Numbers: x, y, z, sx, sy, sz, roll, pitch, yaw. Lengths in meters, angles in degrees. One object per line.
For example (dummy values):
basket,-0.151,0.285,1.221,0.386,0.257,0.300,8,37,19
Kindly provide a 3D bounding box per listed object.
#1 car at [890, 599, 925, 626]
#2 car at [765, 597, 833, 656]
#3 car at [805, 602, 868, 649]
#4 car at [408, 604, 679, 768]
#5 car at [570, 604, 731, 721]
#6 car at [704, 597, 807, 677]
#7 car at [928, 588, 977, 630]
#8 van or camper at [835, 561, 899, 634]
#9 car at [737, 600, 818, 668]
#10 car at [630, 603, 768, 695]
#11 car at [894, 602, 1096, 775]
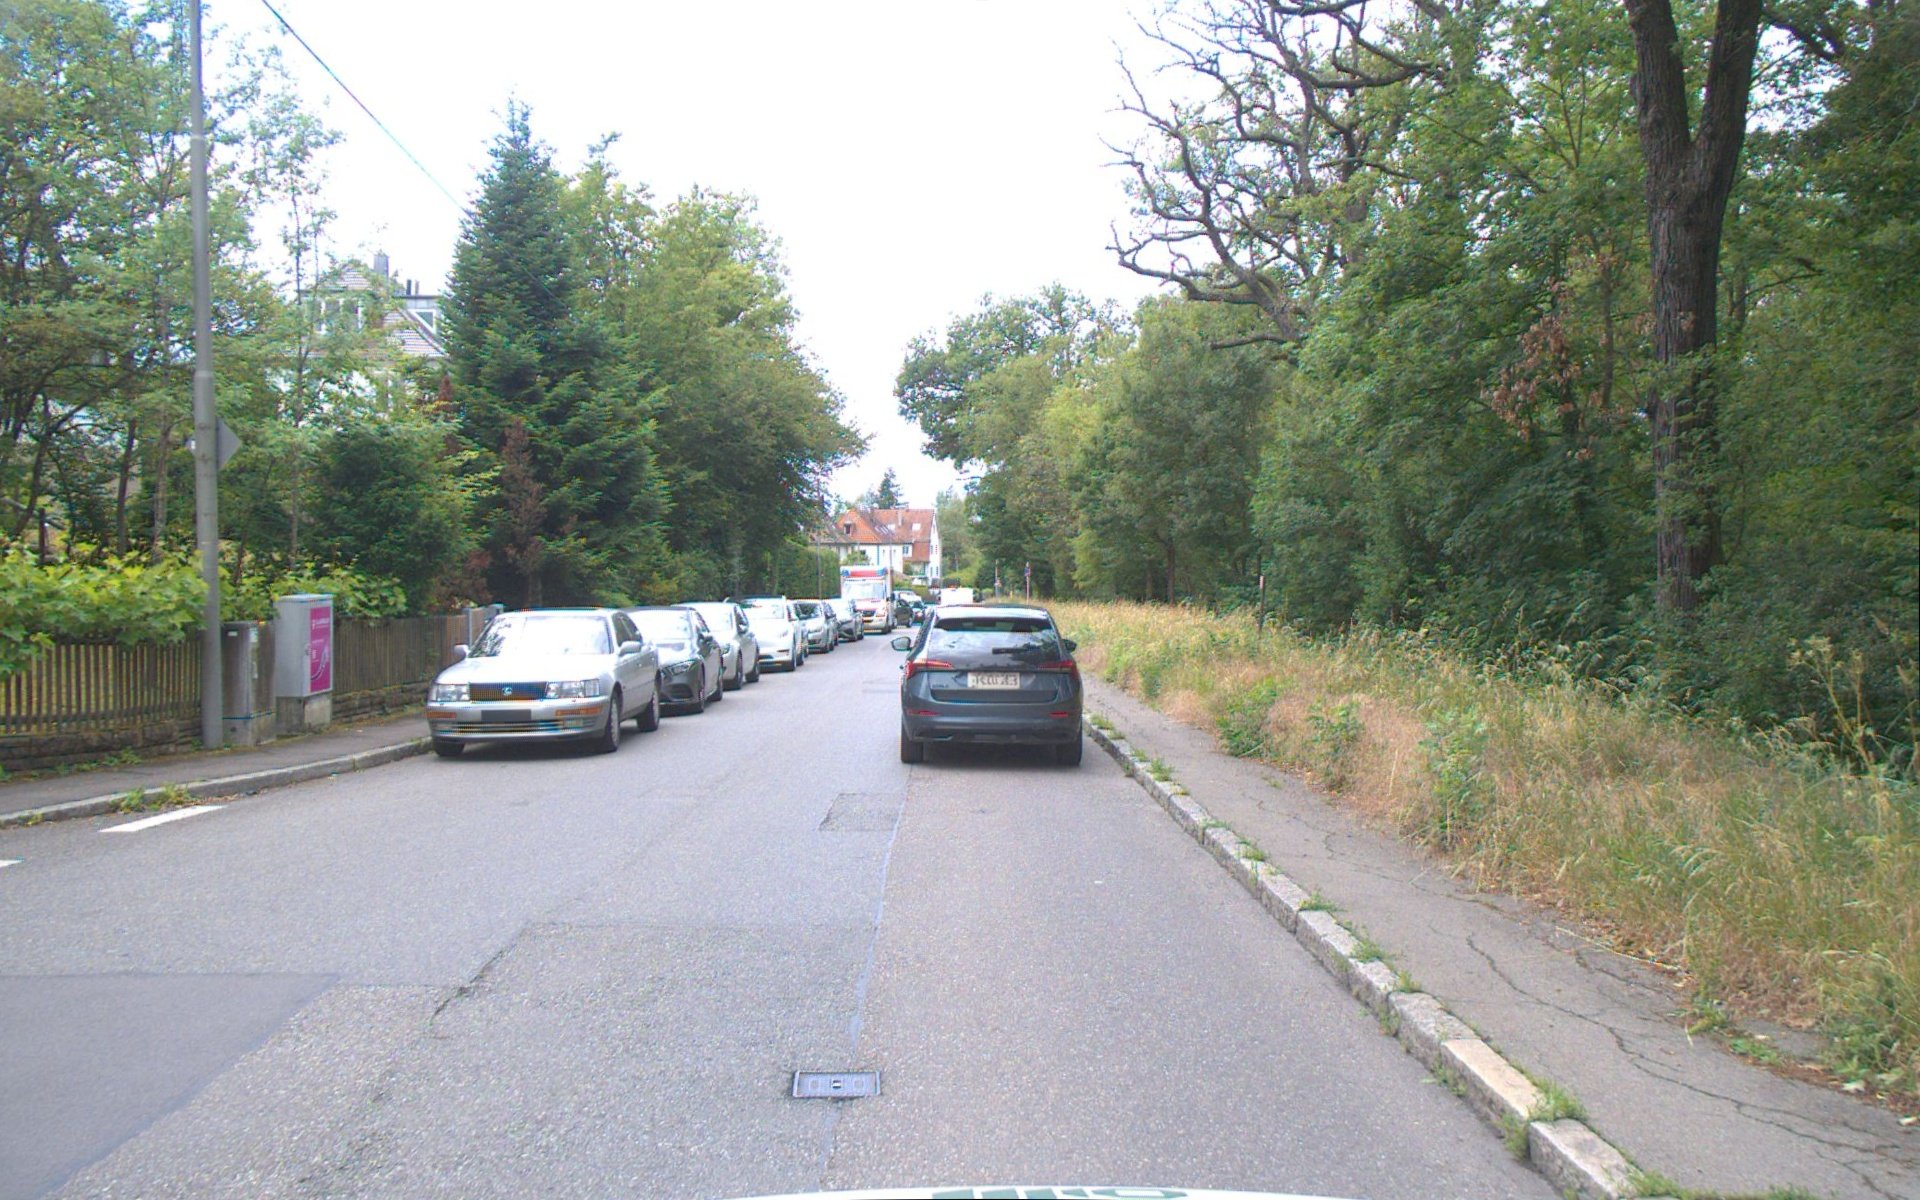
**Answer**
car,-2.913,0.674,91.859,1.727,1.471,4.474,-1,0,1
car,-4.534,0.735,46.942,1.686,1.531,4.005,-2,0,-3
car,-4.407,0.883,59.771,1.761,1.531,4.864,-2,0,1
car,-4.268,0.799,17.770,1.811,1.464,4.908,-1,0,-2
car,-4.308,0.815,23.588,1.700,1.464,4.260,-1,0,-3
car,-4.460,0.762,36.672,1.878,1.589,4.601,-2,0,-3
car,-0.391,0.397,79.246,2.030,1.956,4.919,0,0,-4
van or camper,-3.887,-0.102,70.563,2.406,2.945,7.166,-1,0,-1
car,-4.513,0.810,41.304,1.686,1.531,3.815,-2,0,-3
car,-4.579,0.822,29.537,1.797,1.464,4.116,-2,0,-1
car,0.226,0.781,16.633,1.693,1.464,4.321,1,0,-3
